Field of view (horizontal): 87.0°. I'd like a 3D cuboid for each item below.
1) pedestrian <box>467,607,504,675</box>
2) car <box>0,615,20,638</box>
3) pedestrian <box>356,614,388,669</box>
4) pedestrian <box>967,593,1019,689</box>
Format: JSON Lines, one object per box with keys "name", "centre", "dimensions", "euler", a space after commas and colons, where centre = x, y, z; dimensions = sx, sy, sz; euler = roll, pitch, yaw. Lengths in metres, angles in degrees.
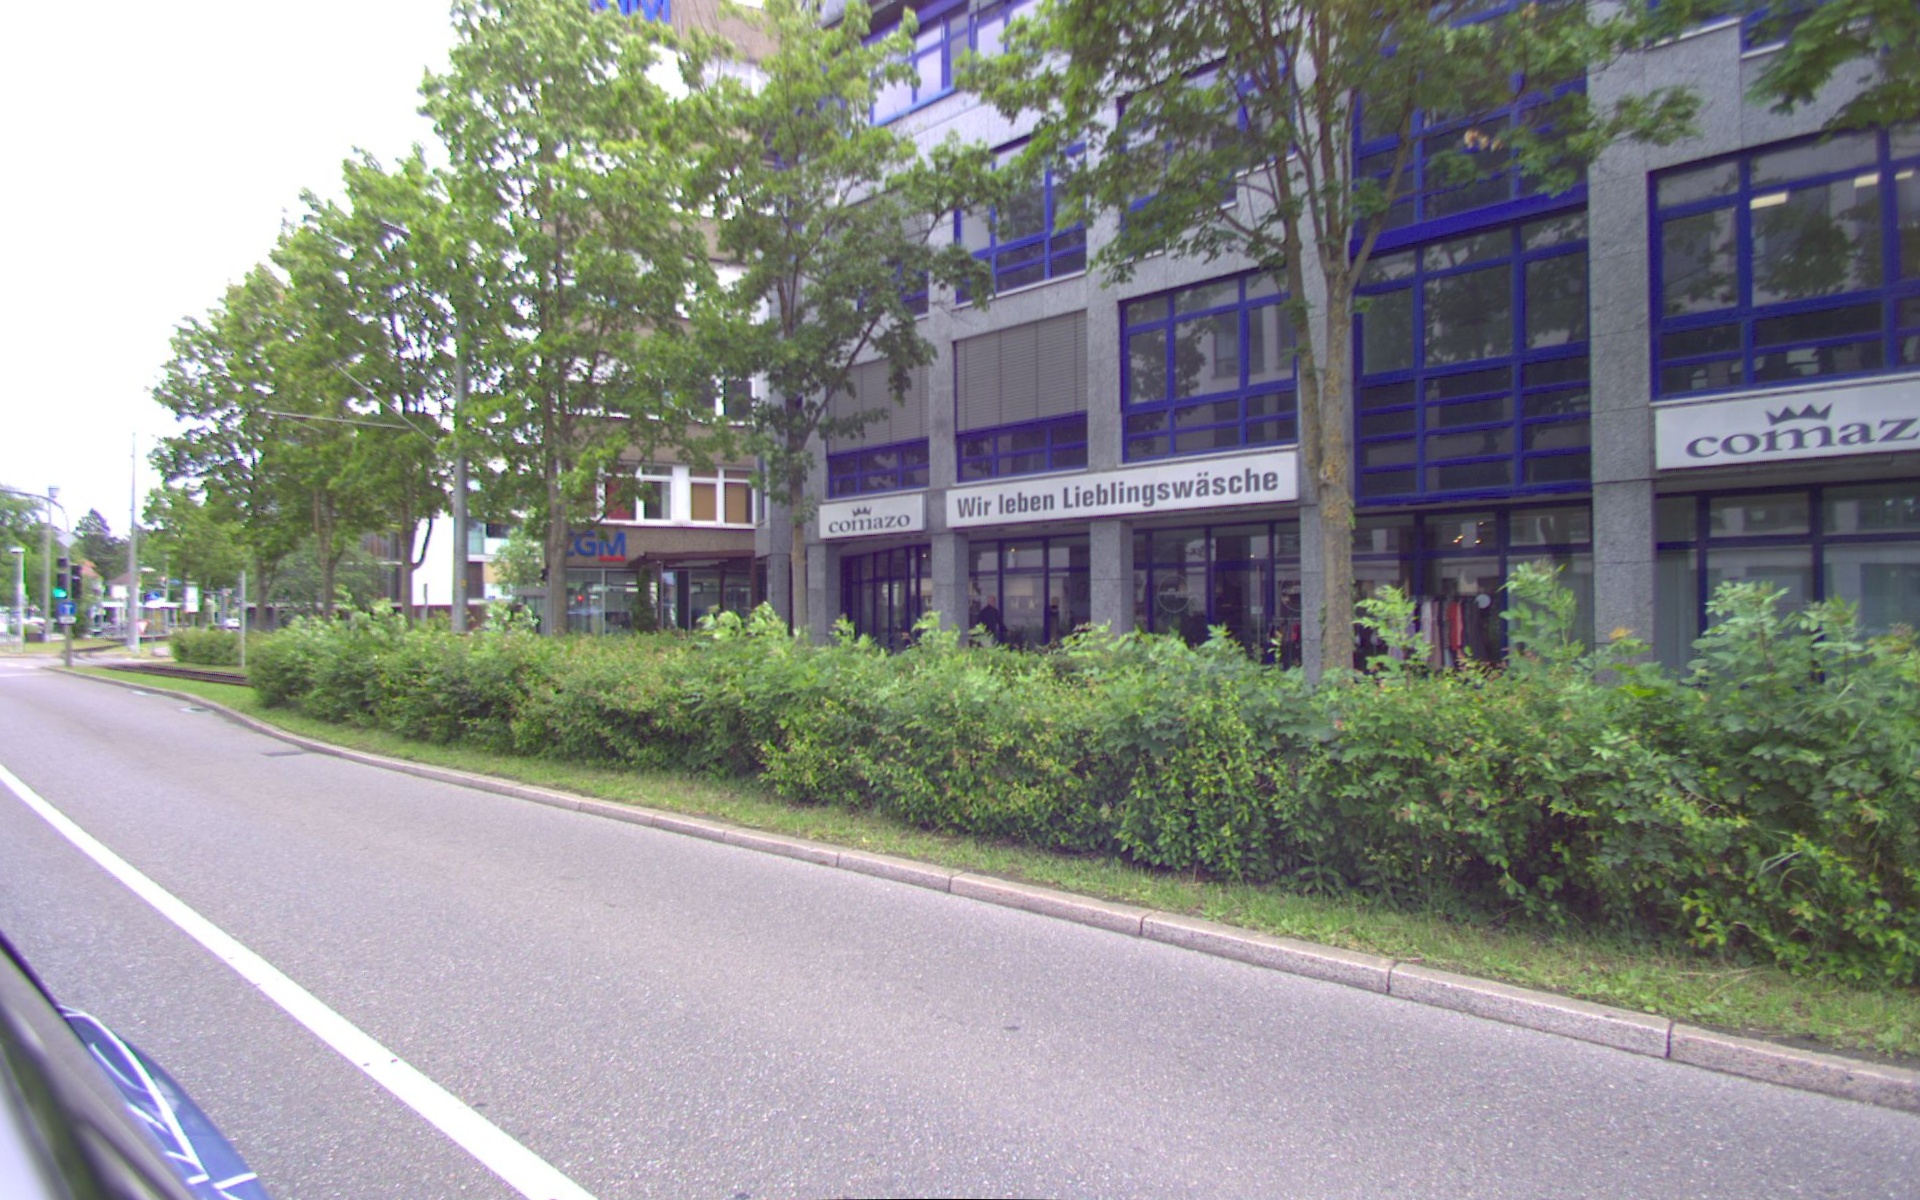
{"name": "pedestrian", "centre": [-12.996, 1.118, 27.716], "dimensions": [0.730, 1.819, 0.672], "euler": [-1, 0, 37]}
{"name": "car", "centre": [-89.809, 2.484, 94.421], "dimensions": [1.965, 2.029, 4.013], "euler": [0, 0, -25]}
{"name": "pedestrian", "centre": [-21.269, 1.500, 36.624], "dimensions": [0.731, 1.938, 0.805], "euler": [-1, 0, 40]}
{"name": "pedestrian", "centre": [0.673, 0.813, 20.717], "dimensions": [0.731, 1.908, 0.766], "euler": [-1, 0, 40]}
